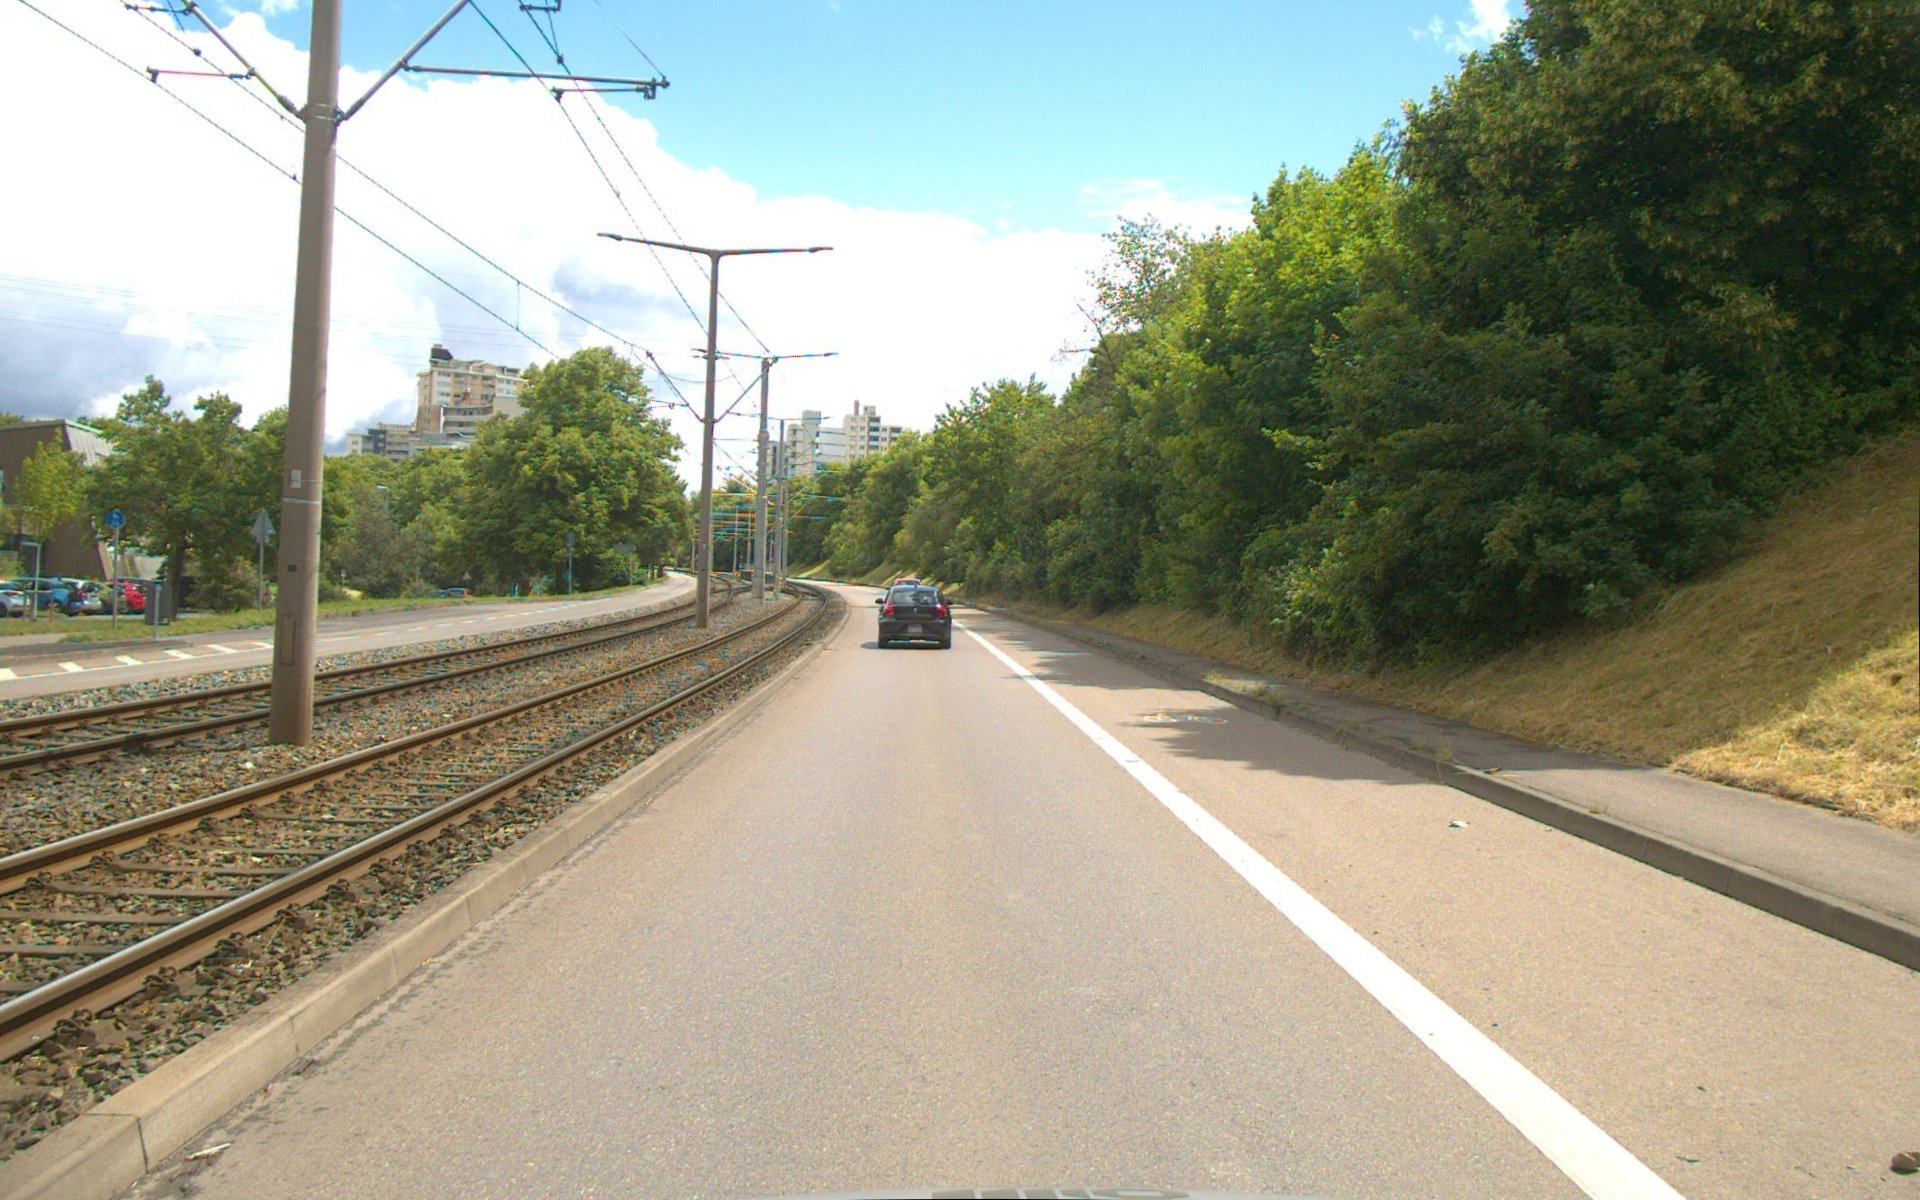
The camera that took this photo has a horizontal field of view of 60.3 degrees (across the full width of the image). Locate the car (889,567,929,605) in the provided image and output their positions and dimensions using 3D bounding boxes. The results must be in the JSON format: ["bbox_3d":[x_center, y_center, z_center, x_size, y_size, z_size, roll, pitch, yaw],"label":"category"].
[{"bbox_3d":[-2.233,-0.597,73.138,1.591,1.468,3.420,3,-1,0],"label":"car"}]

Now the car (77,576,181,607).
[{"bbox_3d":[-40.418,-0.407,80.460,3.998,1.274,1.997,3,1,1],"label":"car"}]

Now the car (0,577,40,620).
[{"bbox_3d":[-39.554,-0.125,66.687,3.841,1.607,1.840,3,1,-7],"label":"car"}]

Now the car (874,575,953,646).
[{"bbox_3d":[-1.101,0.230,38.861,1.674,1.485,3.959,3,0,-2],"label":"car"}]

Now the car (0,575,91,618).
[{"bbox_3d":[-39.831,-0.158,71.143,3.873,1.607,1.870,3,1,1],"label":"car"}]

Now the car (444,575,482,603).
[{"bbox_3d":[-33.509,-0.731,111.668,1.781,1.802,3.995,1,1,-7],"label":"car"}]

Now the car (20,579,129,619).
[{"bbox_3d":[-40.553,-0.066,75.785,3.873,1.607,1.997,3,1,1],"label":"car"}]

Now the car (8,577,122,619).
[{"bbox_3d":[-39.599,-0.090,73.235,3.873,1.607,1.994,3,1,1],"label":"car"}]

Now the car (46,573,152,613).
[{"bbox_3d":[-40.591,-0.346,78.031,3.873,1.607,1.997,3,1,1],"label":"car"}]
